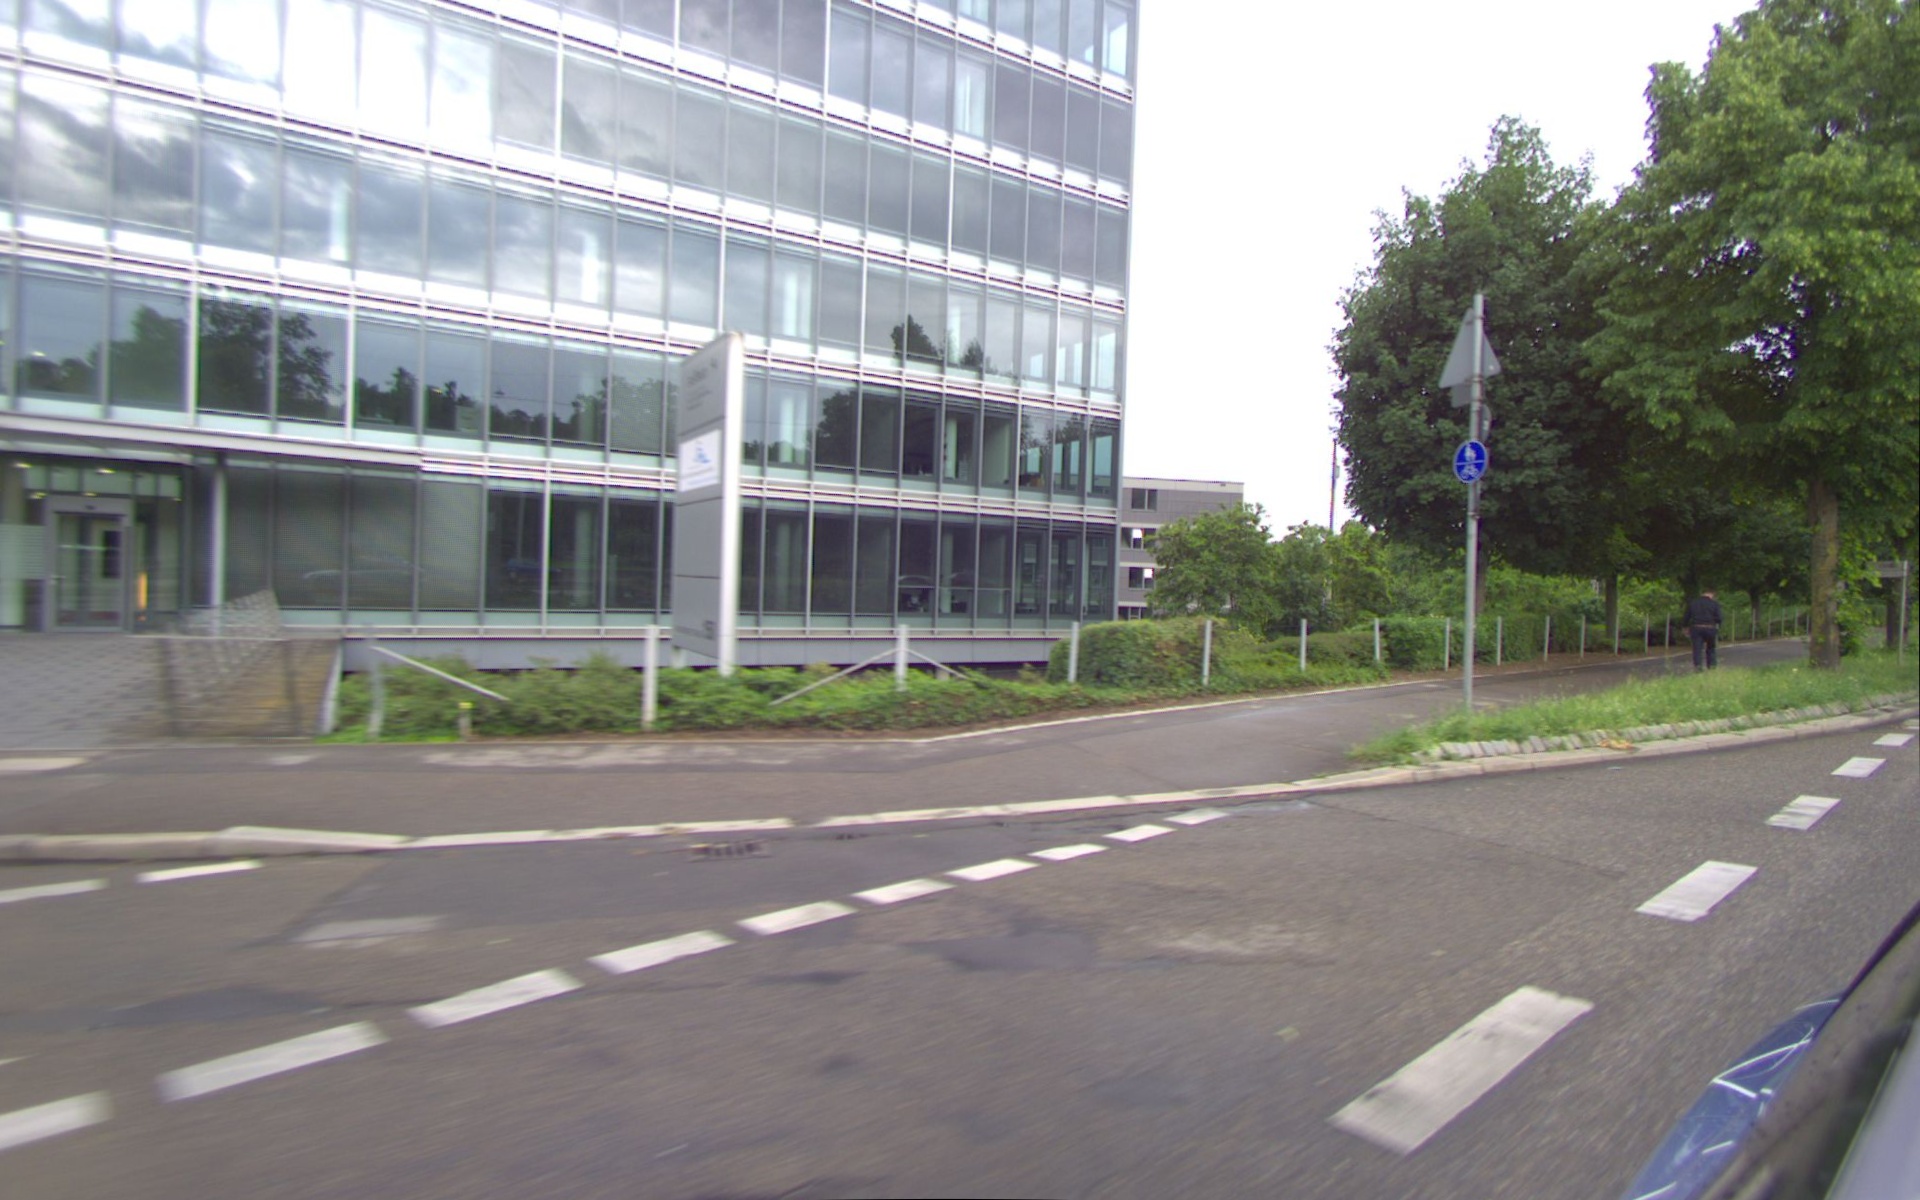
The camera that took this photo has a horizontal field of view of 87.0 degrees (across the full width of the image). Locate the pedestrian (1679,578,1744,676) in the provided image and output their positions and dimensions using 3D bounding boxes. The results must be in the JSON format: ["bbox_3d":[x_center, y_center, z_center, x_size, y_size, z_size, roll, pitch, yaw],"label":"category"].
[{"bbox_3d":[14.415,0.501,19.409,0.852,1.820,0.827,0,0,-40],"label":"pedestrian"}]
